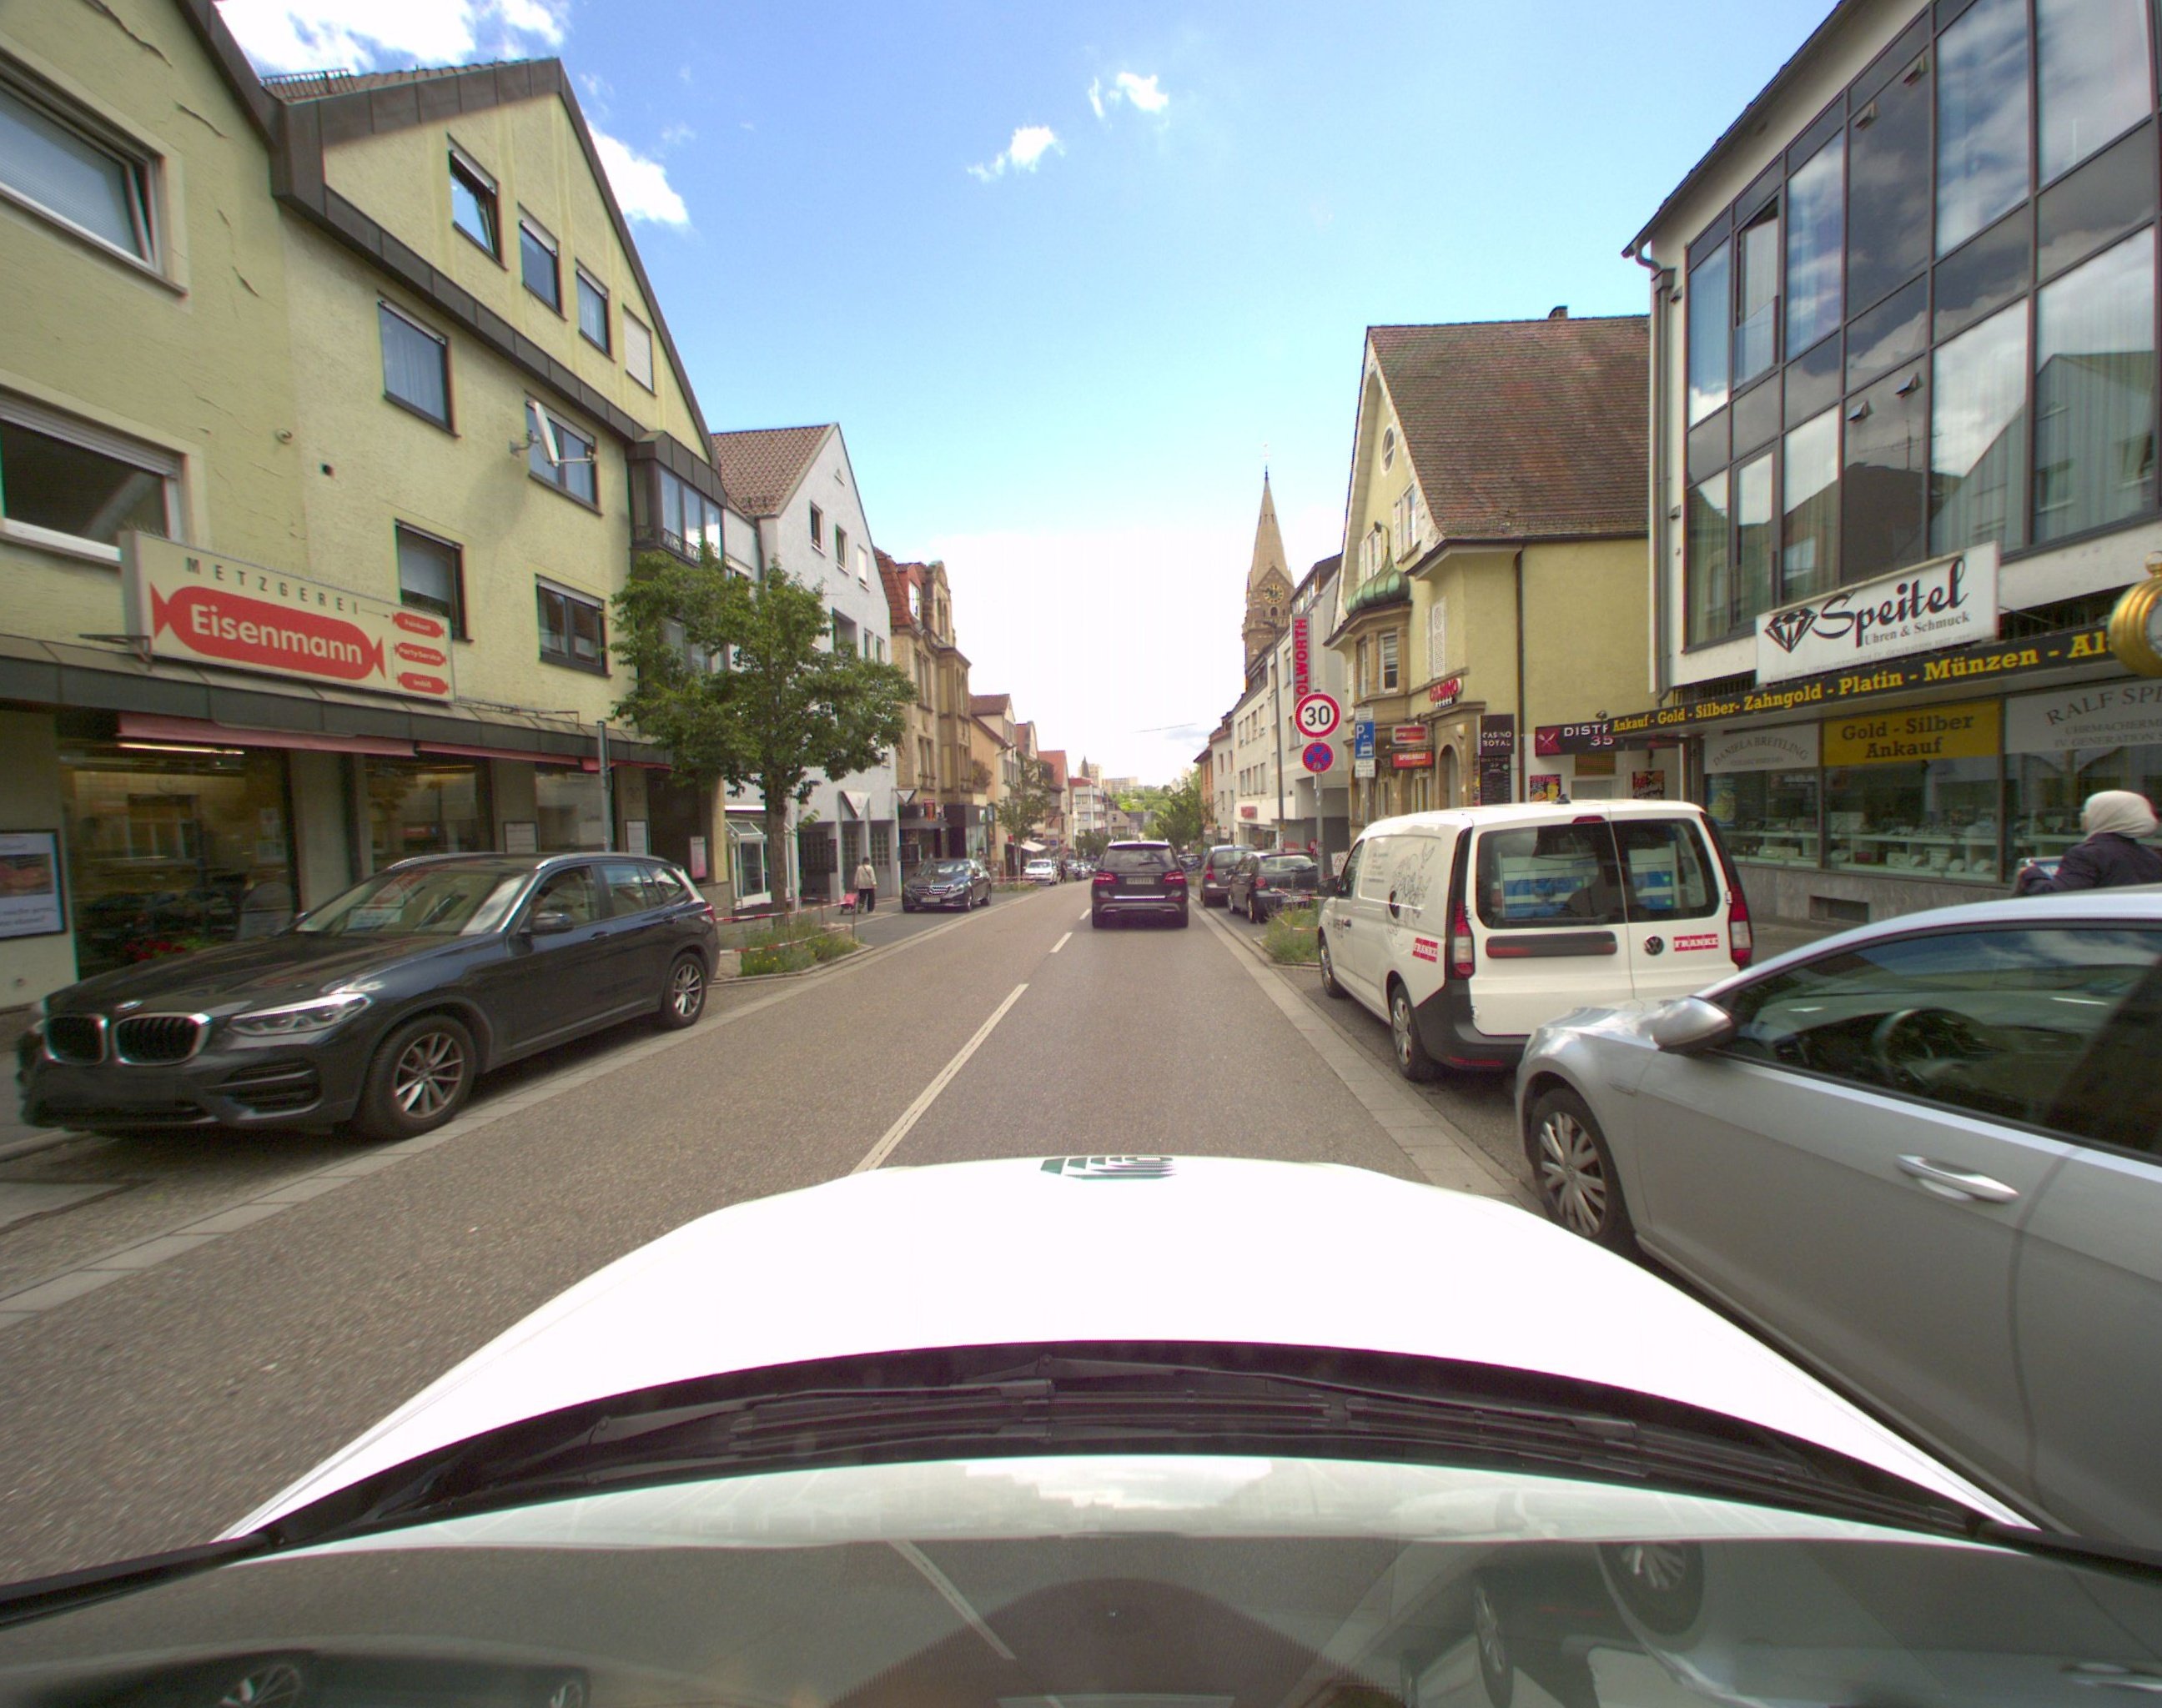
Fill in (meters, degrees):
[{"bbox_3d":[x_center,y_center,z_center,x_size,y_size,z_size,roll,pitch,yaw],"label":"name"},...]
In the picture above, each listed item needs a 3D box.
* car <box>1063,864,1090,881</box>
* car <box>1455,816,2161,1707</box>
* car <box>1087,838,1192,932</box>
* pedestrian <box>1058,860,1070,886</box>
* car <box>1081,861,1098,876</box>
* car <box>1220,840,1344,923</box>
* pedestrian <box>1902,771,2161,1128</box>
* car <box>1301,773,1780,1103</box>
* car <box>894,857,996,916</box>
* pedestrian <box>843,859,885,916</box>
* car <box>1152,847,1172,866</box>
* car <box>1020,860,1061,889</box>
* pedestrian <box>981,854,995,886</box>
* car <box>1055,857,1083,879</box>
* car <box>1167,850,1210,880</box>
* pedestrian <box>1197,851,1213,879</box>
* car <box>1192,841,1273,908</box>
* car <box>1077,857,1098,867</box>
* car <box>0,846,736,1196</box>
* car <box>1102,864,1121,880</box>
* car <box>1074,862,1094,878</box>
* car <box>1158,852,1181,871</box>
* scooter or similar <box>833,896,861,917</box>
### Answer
[{"bbox_3d":[-0.346,1.587,71.326,1.917,1.430,4.267,-1,-1,5],"label":"car"},{"bbox_3d":[2.585,0.649,1.828,1.696,1.467,4.001,-2,0,1],"label":"car"},{"bbox_3d":[1.257,0.568,17.389,1.935,1.740,4.184,-1,0,4],"label":"car"},{"bbox_3d":[-1.115,1.248,52.941,0.734,1.672,0.863,-1,-1,1],"label":"pedestrian"},{"bbox_3d":[0.984,1.633,92.236,1.920,1.595,4.458,1,0,1],"label":"car"},{"bbox_3d":[4.218,0.537,17.654,1.742,1.508,3.875,-3,0,1],"label":"car"},{"bbox_3d":[5.065,0.445,4.198,0.819,1.666,0.804,-2,0,10],"label":"pedestrian"},{"bbox_3d":[3.170,0.471,6.900,1.866,1.799,4.742,-1,0,7],"label":"car"},{"bbox_3d":[-3.803,0.860,23.698,1.918,1.492,4.846,1,0,3],"label":"car"},{"bbox_3d":[-5.753,0.870,21.622,0.822,1.463,0.810,0,-1,3],"label":"pedestrian"},{"bbox_3d":[8.949,0.301,90.546,1.930,1.891,4.711,-4,0,3],"label":"car"},{"bbox_3d":[-2.262,1.117,46.341,1.918,1.511,4.265,0,0,3],"label":"car"},{"bbox_3d":[-4.277,0.736,37.398,0.487,1.463,0.561,0,-1,13],"label":"pedestrian"},{"bbox_3d":[-0.896,1.102,63.719,1.918,1.621,4.642,0,-1,3],"label":"car"},{"bbox_3d":[6.016,0.673,45.968,1.743,1.498,3.798,-4,-2,-1],"label":"car"},{"bbox_3d":[7.328,0.657,48.148,0.753,1.561,0.818,-3,-1,1],"label":"pedestrian"},{"bbox_3d":[4.079,0.517,22.486,1.740,1.608,3.805,-3,0,5],"label":"car"},{"bbox_3d":[1.325,1.570,160.149,3.974,1.750,2.000,-4,-1,0],"label":"car"},{"bbox_3d":[-4.783,0.799,6.324,1.998,1.693,4.612,0,1,4],"label":"car"},{"bbox_3d":[3.309,1.934,88.848,1.812,1.618,4.136,-4,-1,1],"label":"car"},{"bbox_3d":[0.334,1.638,84.864,1.920,1.496,4.263,1,0,1],"label":"car"},{"bbox_3d":[7.914,0.659,73.131,1.741,1.465,4.078,-5,0,3],"label":"car"},{"bbox_3d":[-6.016,1.345,20.916,0.522,0.519,0.573,0,0,3],"label":"scooter or similar"}]
